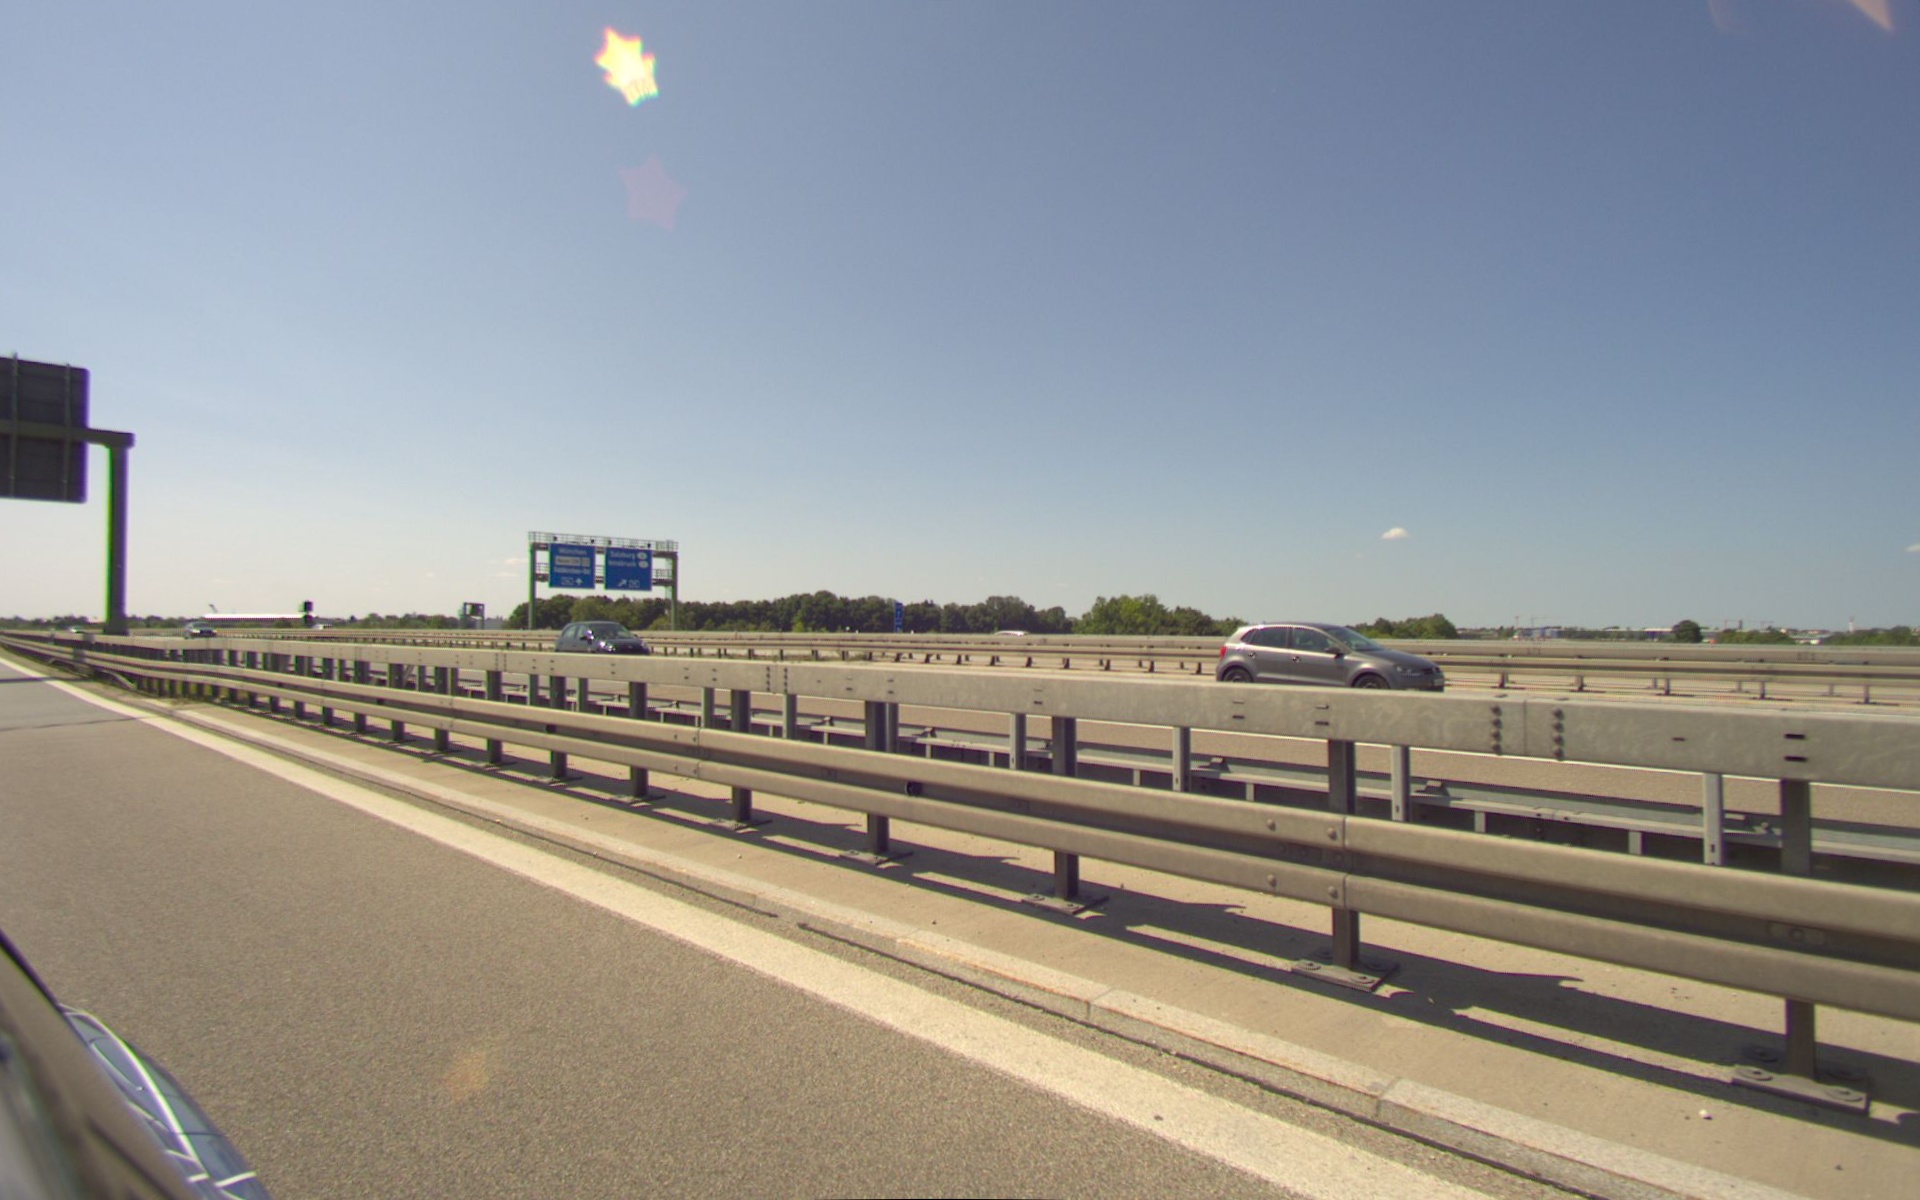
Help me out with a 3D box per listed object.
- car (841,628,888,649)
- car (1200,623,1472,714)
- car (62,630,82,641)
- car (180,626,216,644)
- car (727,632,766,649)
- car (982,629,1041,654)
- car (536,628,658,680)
[{"bbox_3d":[-7.012,2.826,74.036,3.344,1.364,1.561,1,-1,42],"label":"car"},{"bbox_3d":[6.607,1.132,18.091,4.217,1.433,1.743,-1,-2,44],"label":"car"},{"bbox_3d":[-133.142,5.354,151.761,4.576,1.529,1.817,-1,-2,44],"label":"car"},{"bbox_3d":[-67.741,3.073,89.931,4.576,1.529,1.817,-1,-2,44],"label":"car"},{"bbox_3d":[-18.428,3.475,87.326,3.344,1.364,1.561,1,-1,42],"label":"car"},{"bbox_3d":[3.152,2.499,61.869,3.344,1.364,1.561,1,-1,42],"label":"car"},{"bbox_3d":[-11.133,1.584,30.873,4.217,1.443,1.809,-1,-1,43],"label":"car"}]
